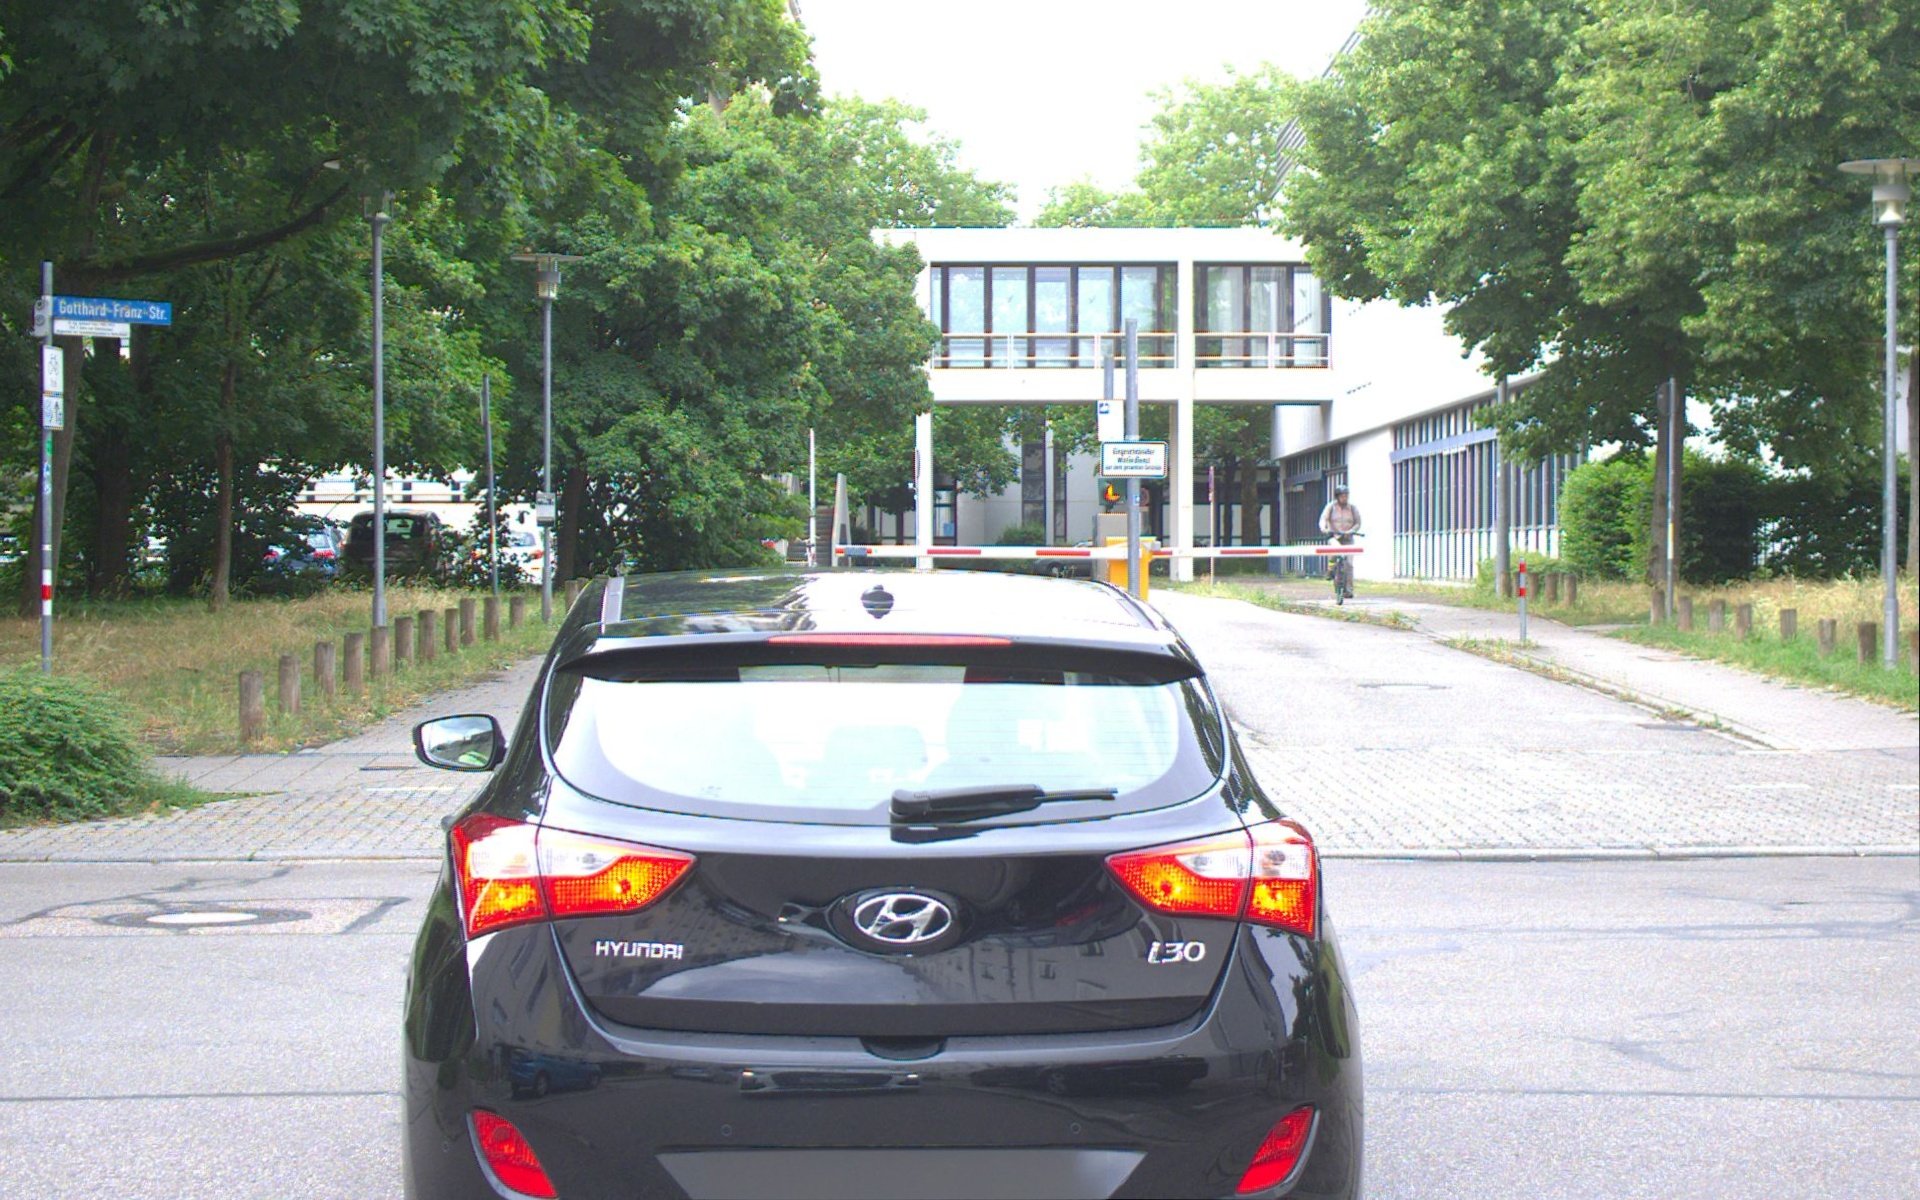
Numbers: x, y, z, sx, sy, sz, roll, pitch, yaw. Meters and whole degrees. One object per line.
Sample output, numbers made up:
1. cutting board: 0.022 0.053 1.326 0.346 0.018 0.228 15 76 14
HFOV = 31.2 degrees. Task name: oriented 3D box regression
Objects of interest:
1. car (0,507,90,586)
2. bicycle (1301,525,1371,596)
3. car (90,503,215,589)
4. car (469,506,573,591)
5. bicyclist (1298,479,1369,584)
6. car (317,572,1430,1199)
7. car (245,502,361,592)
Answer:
1. car: -19.678 -1.126 72.363 1.993 1.612 4.001 0 1 -5
2. bicycle: 5.882 -0.628 53.843 0.866 1.071 2.142 0 2 0
3. car: -16.955 -1.111 72.310 1.993 1.722 4.000 0 -1 -5
4. car: -9.258 -1.068 72.748 1.993 1.756 4.001 0 0 -5
5. bicyclist: 5.859 -1.075 53.949 1.017 1.639 0.923 0 1 0
6. car: -0.321 0.680 7.613 1.845 1.457 3.828 0 1 -6
7. car: -13.854 -1.096 72.658 1.993 1.788 4.000 0 -1 -5
